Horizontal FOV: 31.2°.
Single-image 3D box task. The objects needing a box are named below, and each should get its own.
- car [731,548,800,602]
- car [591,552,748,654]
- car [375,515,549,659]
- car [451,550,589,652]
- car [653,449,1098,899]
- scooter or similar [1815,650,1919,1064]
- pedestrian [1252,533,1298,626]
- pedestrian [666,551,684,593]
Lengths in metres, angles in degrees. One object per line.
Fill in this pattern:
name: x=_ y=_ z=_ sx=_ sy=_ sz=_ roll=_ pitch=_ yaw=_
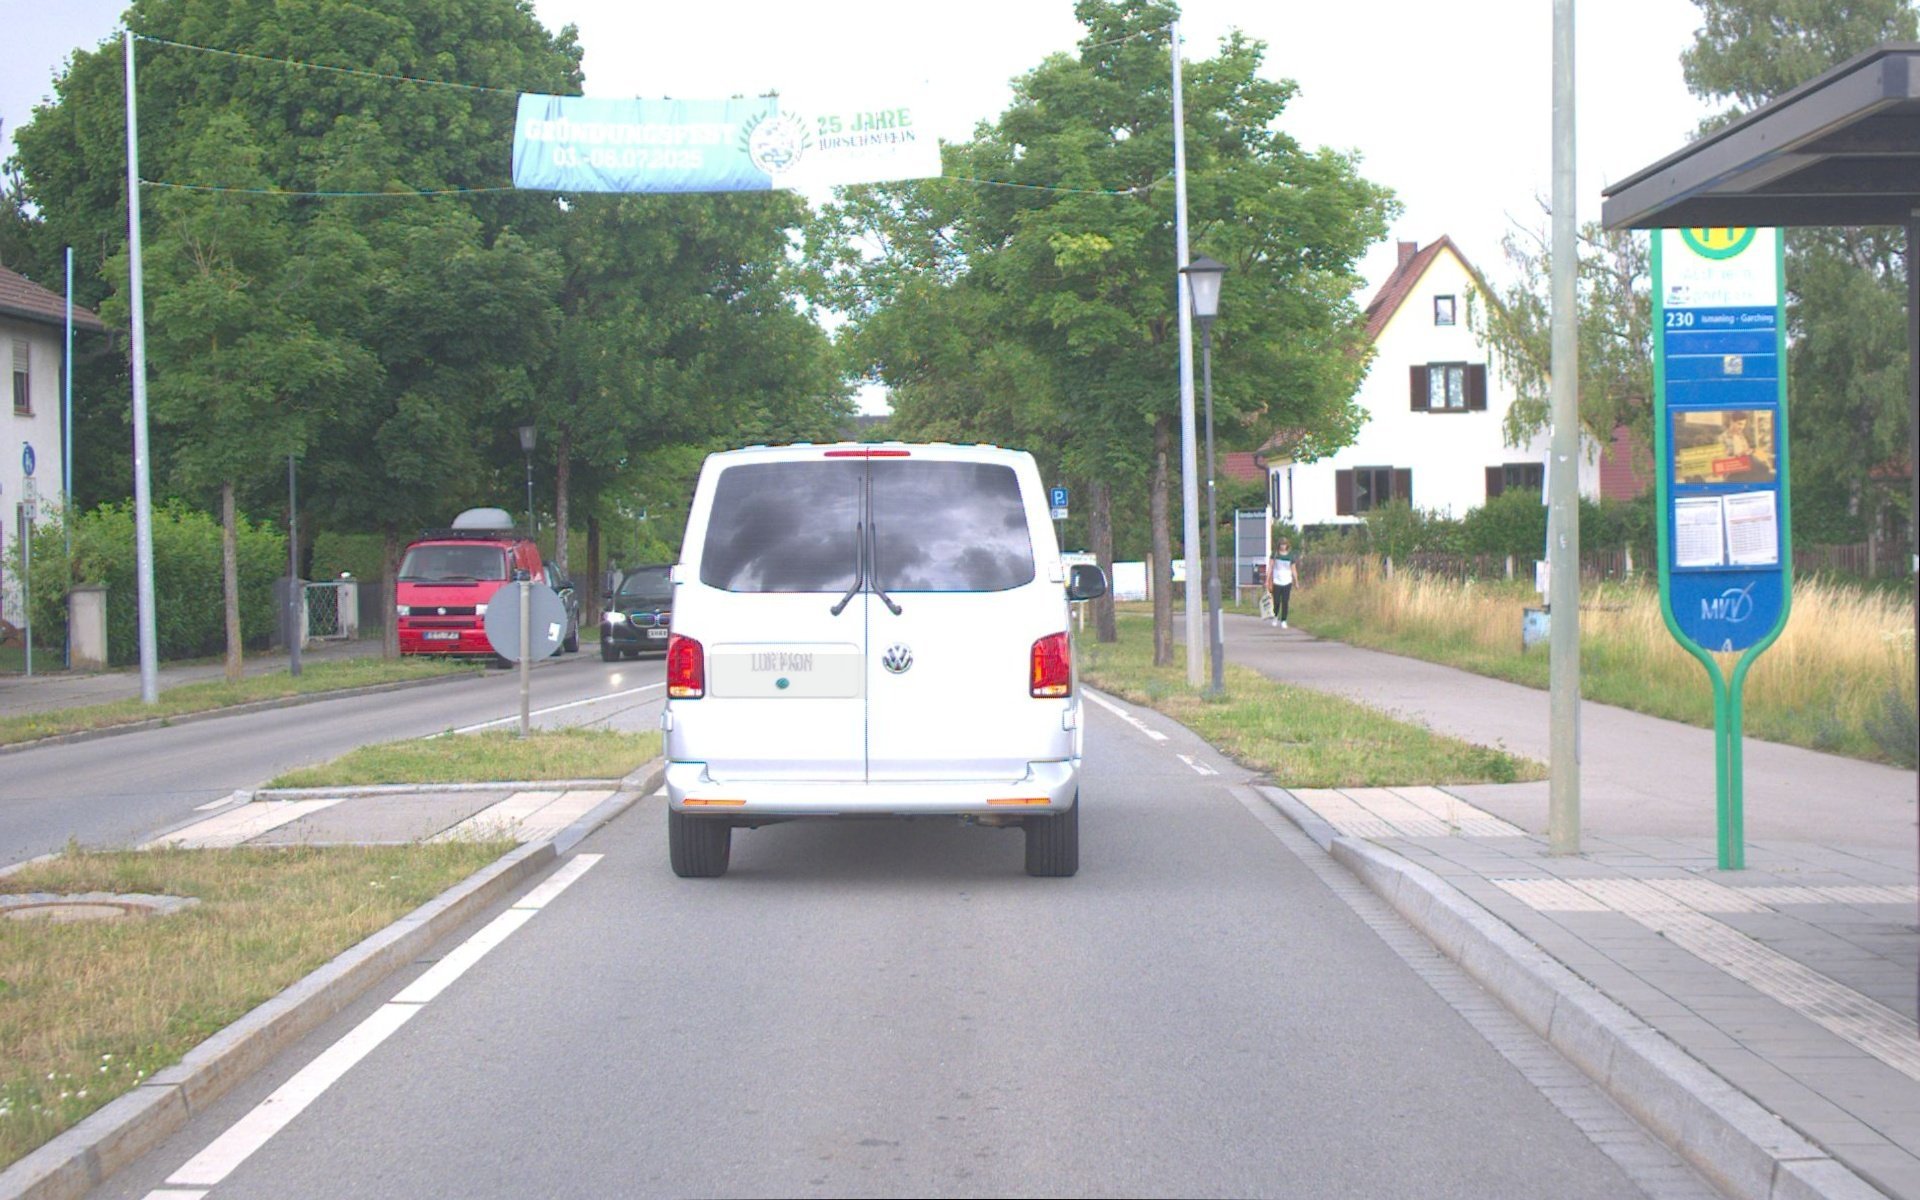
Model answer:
car: x=-6.001 y=-0.787 z=106.331 sx=1.707 sy=1.527 sz=3.507 roll=-3 pitch=1 yaw=3
car: x=-4.483 y=0.011 z=53.693 sx=1.920 sy=1.448 sz=4.496 roll=-1 pitch=1 yaw=2
car: x=-7.385 y=-0.234 z=51.419 sx=1.830 sy=2.023 sz=5.046 roll=1 pitch=1 yaw=0
car: x=-7.327 y=-0.015 z=57.518 sx=1.771 sy=1.592 sz=4.238 roll=0 pitch=1 yaw=0
car: x=-0.392 y=0.296 z=16.652 sx=1.888 sy=1.905 sz=4.000 roll=0 pitch=1 yaw=-1
scooter or similar: x=2.868 y=0.676 z=9.318 sx=0.708 sy=1.058 sz=1.058 roll=1 pitch=1 yaw=36
pedestrian: x=5.956 y=-0.389 z=64.998 sx=0.837 sy=1.749 sz=0.869 roll=0 pitch=1 yaw=4
pedestrian: x=-10.439 y=-1.023 z=125.833 sx=0.622 sy=1.544 sz=0.522 roll=0 pitch=0 yaw=-4
